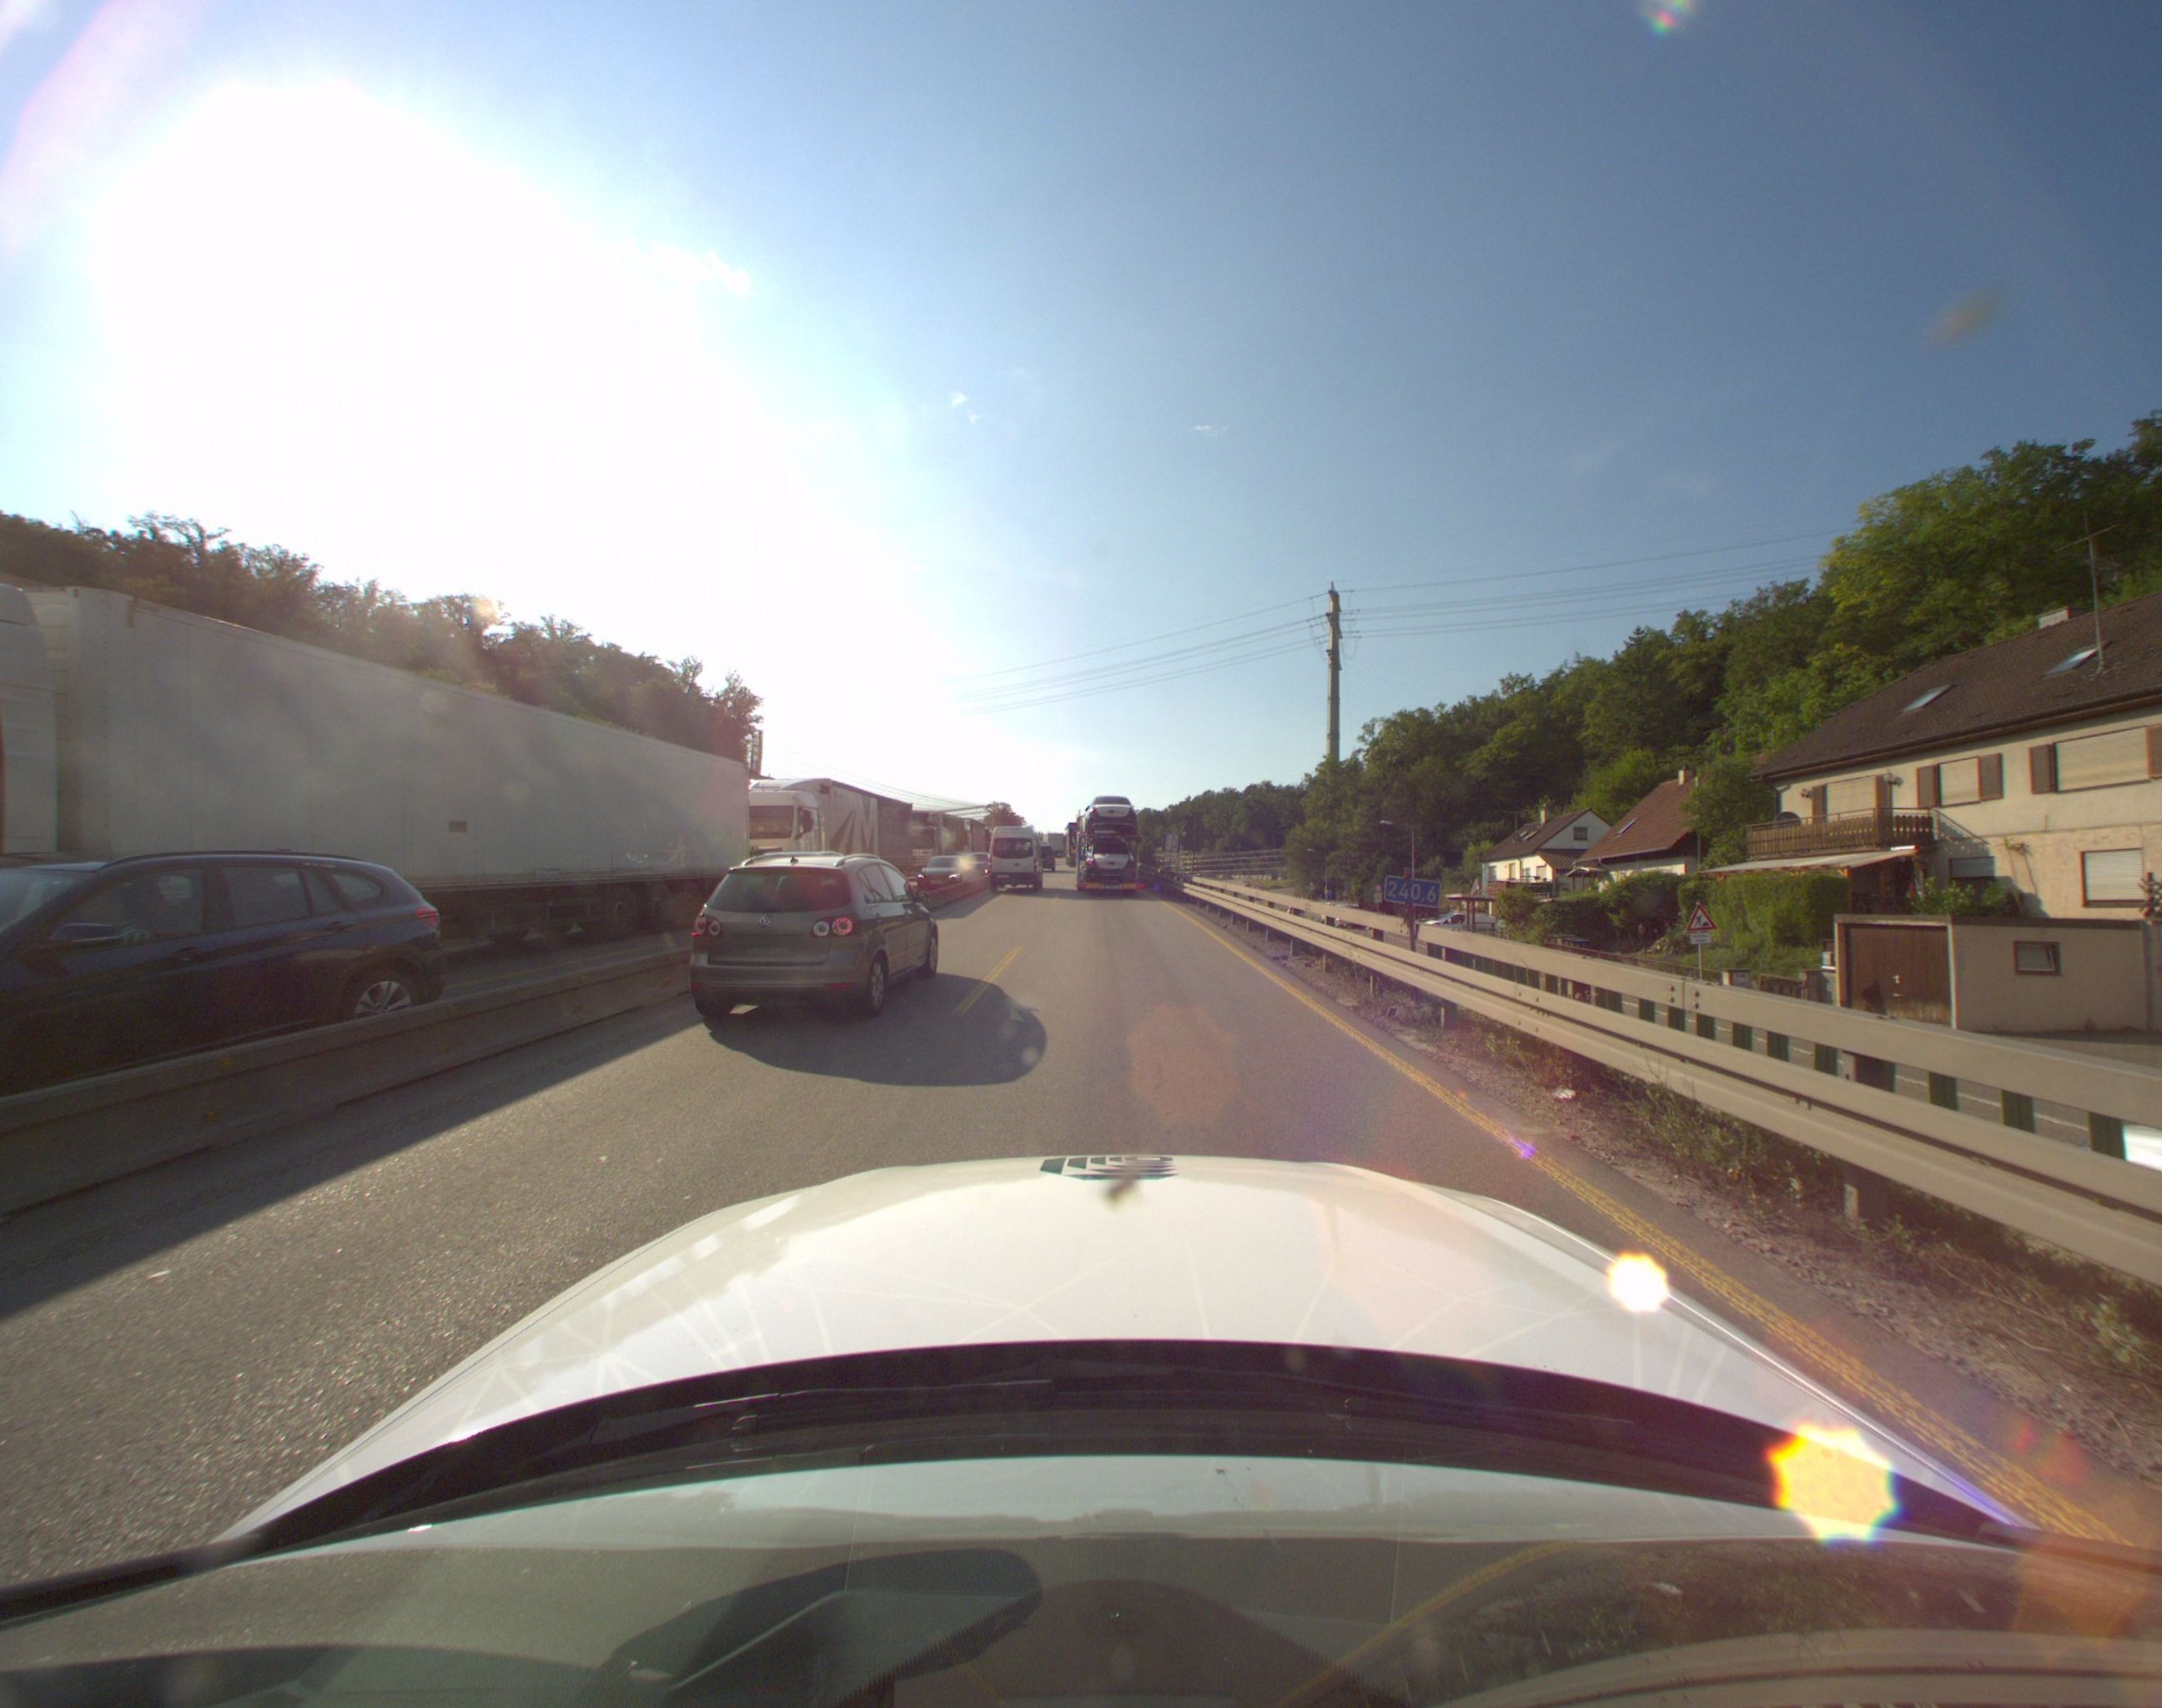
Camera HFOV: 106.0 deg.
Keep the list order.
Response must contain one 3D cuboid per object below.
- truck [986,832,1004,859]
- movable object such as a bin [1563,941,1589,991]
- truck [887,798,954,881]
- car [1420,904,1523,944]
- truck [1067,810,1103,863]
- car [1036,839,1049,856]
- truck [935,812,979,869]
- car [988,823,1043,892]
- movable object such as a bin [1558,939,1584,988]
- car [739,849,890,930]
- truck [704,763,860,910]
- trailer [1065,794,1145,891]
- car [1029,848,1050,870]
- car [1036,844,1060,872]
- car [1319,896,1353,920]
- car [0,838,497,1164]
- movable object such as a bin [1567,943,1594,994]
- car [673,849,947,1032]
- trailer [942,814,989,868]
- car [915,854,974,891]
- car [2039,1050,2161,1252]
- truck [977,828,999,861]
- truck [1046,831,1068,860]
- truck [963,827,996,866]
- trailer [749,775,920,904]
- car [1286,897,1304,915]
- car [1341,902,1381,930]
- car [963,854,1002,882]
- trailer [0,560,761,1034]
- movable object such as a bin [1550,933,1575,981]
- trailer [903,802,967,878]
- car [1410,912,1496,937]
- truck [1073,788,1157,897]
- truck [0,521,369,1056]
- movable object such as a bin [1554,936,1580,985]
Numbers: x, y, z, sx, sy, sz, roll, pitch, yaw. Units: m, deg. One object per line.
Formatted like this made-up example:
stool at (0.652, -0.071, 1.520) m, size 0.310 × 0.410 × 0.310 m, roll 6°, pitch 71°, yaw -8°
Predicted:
truck at (-13.789, -1.372, 130.403) m, size 2.691 × 4.197 × 4.388 m, roll 0°, pitch -1°, yaw -6°
movable object such as a bin at (18.578, 4.194, 30.575) m, size 0.486 × 1.770 × 0.415 m, roll 10°, pitch -1°, yaw 10°
truck at (-9.113, -0.767, 46.755) m, size 2.911 × 4.514 × 5.025 m, roll 0°, pitch 0°, yaw -1°
car at (24.334, 4.353, 50.883) m, size 5.440 × 2.264 × 2.002 m, roll 1°, pitch -2°, yaw 5°
truck at (0.247, -1.616, 77.651) m, size 3.219 × 4.676 × 11.691 m, roll 0°, pitch 1°, yaw -1°
car at (-4.758, -0.745, 102.286) m, size 1.524 × 2.014 × 3.996 m, roll 2°, pitch -1°, yaw -2°
truck at (-9.345, -1.003, 61.687) m, size 2.743 × 4.115 × 5.024 m, roll -1°, pitch 0°, yaw -3°
car at (-2.650, 0.166, 33.969) m, size 1.973 × 2.684 × 4.145 m, roll -1°, pitch -1°, yaw -1°
movable object such as a bin at (18.646, 4.168, 31.000) m, size 0.486 × 1.770 × 0.415 m, roll 10°, pitch -1°, yaw 10°
car at (-6.228, 0.790, 19.774) m, size 2.002 × 1.655 × 4.972 m, roll 2°, pitch -1°, yaw -1°
truck at (-9.429, -0.477, 26.474) m, size 2.755 × 4.203 × 6.114 m, roll -1°, pitch -1°, yaw 0°
trailer at (0.846, -0.423, 41.105) m, size 2.868 × 3.994 × 15.264 m, roll 0°, pitch 0°, yaw -2°
car at (-3.788, 0.477, 74.355) m, size 1.828 × 1.963 × 4.894 m, roll 0°, pitch -1°, yaw -2°
car at (-2.463, 0.336, 61.262) m, size 1.523 × 2.014 × 3.999 m, roll 2°, pitch -1°, yaw 0°
car at (22.681, 4.771, 72.591) m, size 1.853 × 1.986 × 5.059 m, roll -1°, pitch -2°, yaw 6°
car at (-6.298, 0.726, 5.015) m, size 1.874 × 1.607 × 4.731 m, roll 2°, pitch -1°, yaw 0°
movable object such as a bin at (18.483, 4.231, 30.146) m, size 0.486 × 1.770 × 0.415 m, roll 10°, pitch -1°, yaw 10°
car at (-2.719, 0.770, 9.213) m, size 1.695 × 1.587 × 4.146 m, roll -1°, pitch 0°, yaw 0°
trailer at (-9.716, -1.015, 69.656) m, size 2.708 × 4.122 × 12.480 m, roll -1°, pitch 0°, yaw -3°
car at (-5.895, 0.796, 35.724) m, size 1.769 × 1.457 × 4.813 m, roll 1°, pitch -1°, yaw 0°
car at (10.715, 2.820, 6.285) m, size 1.659 × 1.662 × 4.478 m, roll -1°, pitch -2°, yaw 6°
truck at (-11.927, -1.168, 104.840) m, size 2.697 × 4.141 × 5.784 m, roll 0°, pitch -1°, yaw -5°
truck at (-4.040, -1.445, 138.637) m, size 3.637 × 4.676 × 11.691 m, roll 0°, pitch 1°, yaw -1°
truck at (-10.344, -0.748, 83.452) m, size 2.743 × 3.805 × 7.103 m, roll -1°, pitch 0°, yaw -3°
trailer at (-9.400, -0.422, 33.491) m, size 2.767 × 4.203 × 13.831 m, roll -1°, pitch 0°, yaw 0°
car at (21.008, 5.108, 80.172) m, size 1.515 × 1.461 × 4.282 m, roll -1°, pitch 0°, yaw 12°
car at (21.377, 4.710, 62.377) m, size 1.984 × 1.917 × 4.874 m, roll -1°, pitch -2°, yaw 8°
car at (-5.810, 0.858, 48.507) m, size 1.761 × 1.551 × 4.478 m, roll 1°, pitch -1°, yaw 0°
trailer at (-9.737, -0.468, 14.310) m, size 2.447 × 4.320 × 13.779 m, roll -1°, pitch 0°, yaw 1°
movable object such as a bin at (18.829, 4.031, 31.849) m, size 0.526 × 1.770 × 0.417 m, roll 10°, pitch -1°, yaw 10°
trailer at (-9.187, -0.808, 52.059) m, size 2.903 × 4.465 × 7.148 m, roll 0°, pitch 0°, yaw -1°
car at (25.088, 4.753, 55.066) m, size 5.066 × 1.557 × 1.718 m, roll 1°, pitch -2°, yaw 5°
truck at (1.212, -0.405, 32.742) m, size 2.863 × 3.980 × 5.765 m, roll 0°, pitch -1°, yaw -3°
truck at (-9.925, -0.520, 7.130) m, size 2.446 × 4.316 × 5.475 m, roll -1°, pitch -1°, yaw 1°
movable object such as a bin at (18.735, 4.099, 31.419) m, size 0.532 × 1.770 × 0.410 m, roll 10°, pitch -1°, yaw 10°
